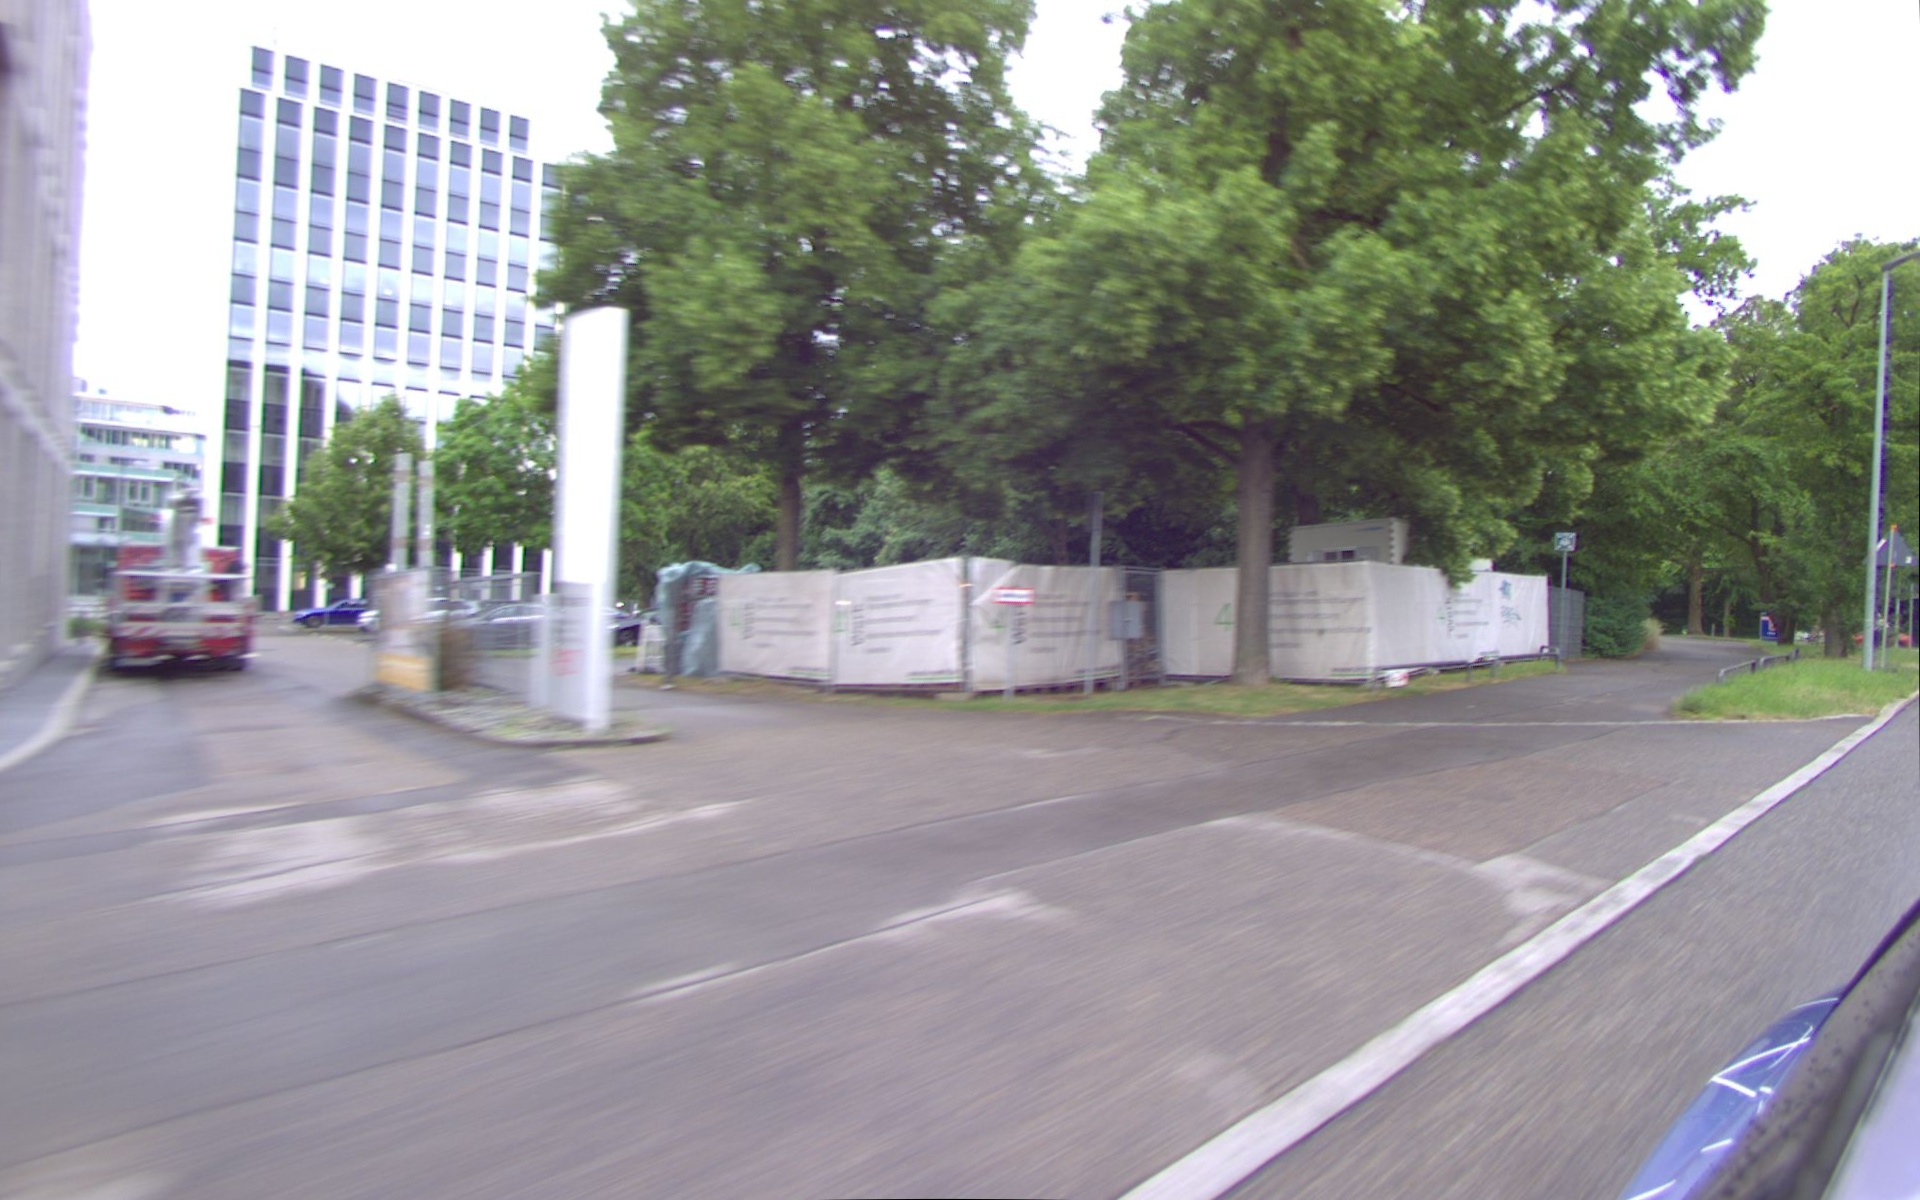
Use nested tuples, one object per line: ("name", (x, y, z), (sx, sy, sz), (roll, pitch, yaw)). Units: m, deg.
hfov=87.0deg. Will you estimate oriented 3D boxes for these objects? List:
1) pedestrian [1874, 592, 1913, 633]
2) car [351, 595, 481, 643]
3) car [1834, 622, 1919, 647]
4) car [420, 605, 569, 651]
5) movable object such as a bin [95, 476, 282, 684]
("pedestrian", (40.404, 0.541, 43.795), (0.731, 1.743, 1.022), (0, 0, 1))
("car", (-19.877, 0.654, 37.040), (3.931, 1.638, 1.773), (0, 0, -41))
("car", (60.345, 2.255, 66.293), (4.303, 1.534, 1.981), (0, 0, 28))
("car", (-14.804, 0.847, 32.282), (4.052, 1.309, 1.628), (-1, 0, -41))
("movable object such as a bin", (-15.614, -0.360, 20.291), (2.583, 3.490, 6.362), (0, 0, -41))
